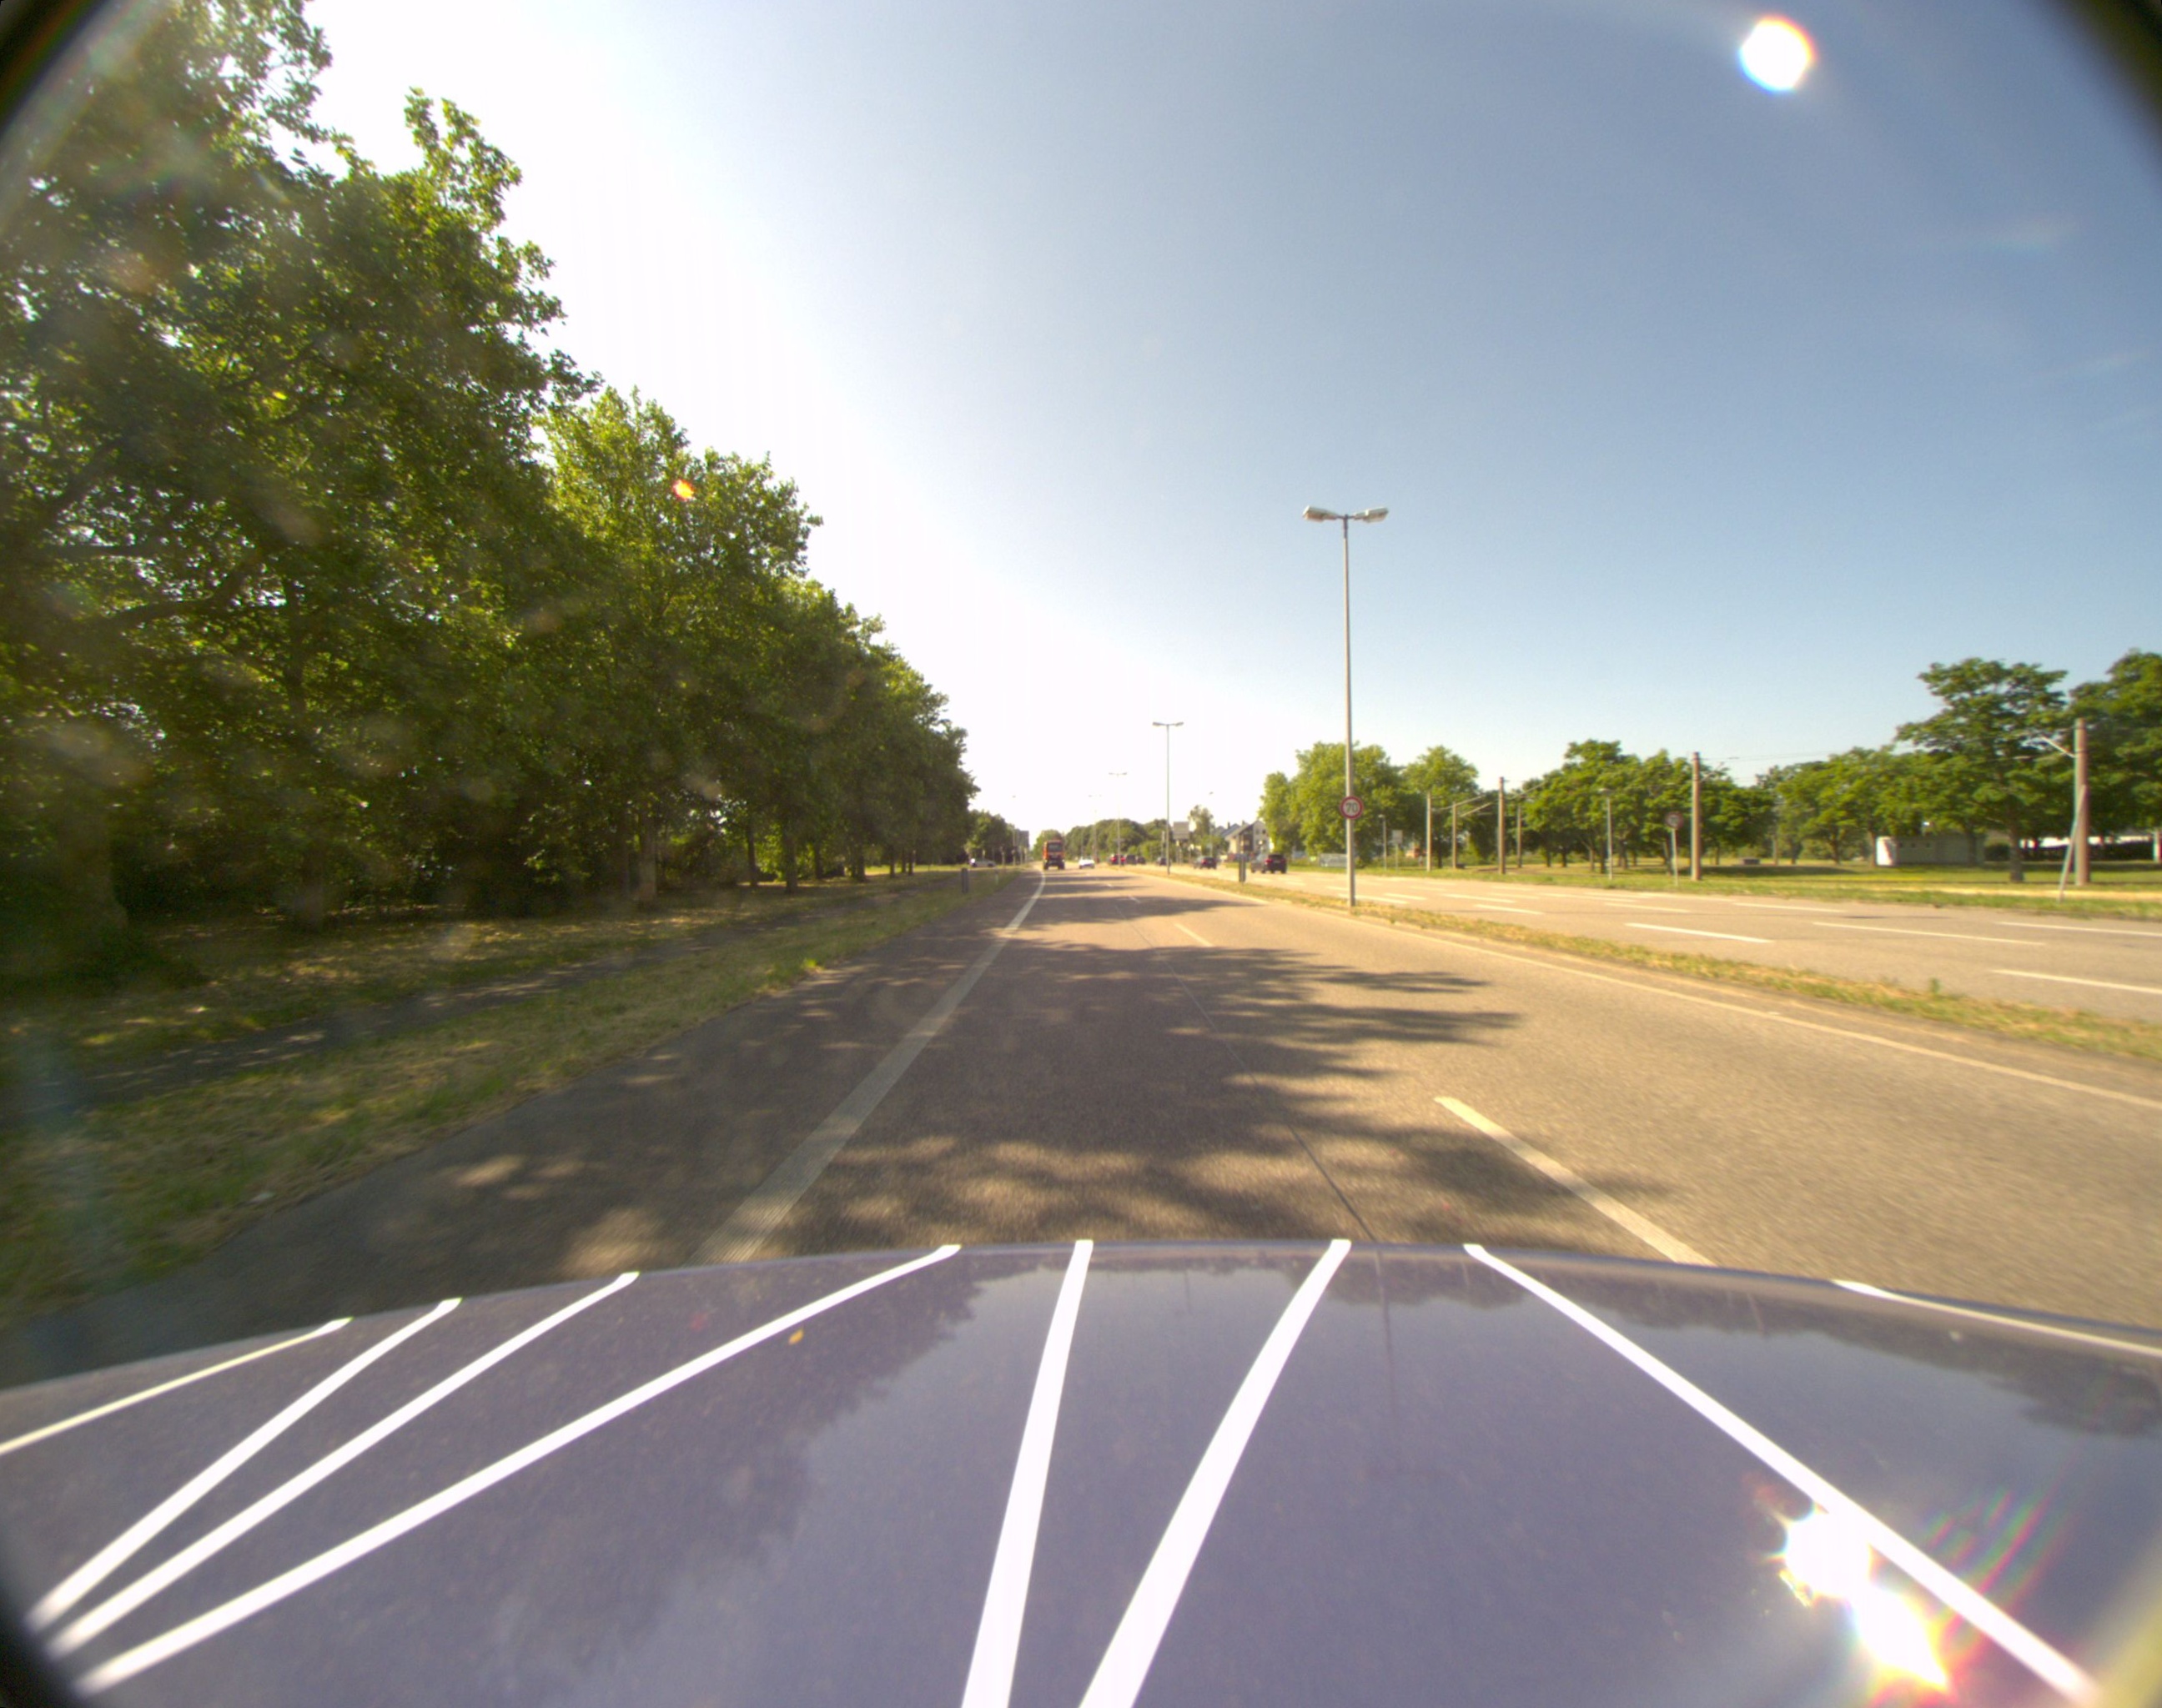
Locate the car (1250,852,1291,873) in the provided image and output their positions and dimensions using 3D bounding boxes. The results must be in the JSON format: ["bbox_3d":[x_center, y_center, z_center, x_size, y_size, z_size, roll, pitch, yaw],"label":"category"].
[{"bbox_3d":[15.083,0.648,60.697,1.988,1.650,4.553,-1,0,-3],"label":"car"}]

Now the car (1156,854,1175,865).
[{"bbox_3d":[12.196,0.774,109.730,1.868,1.536,4.404,0,0,-4],"label":"car"}]

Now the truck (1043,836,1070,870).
[{"bbox_3d":[-2.988,-0.160,92.148,2.941,3.852,6.588,-2,1,-4],"label":"truck"}]

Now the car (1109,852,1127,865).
[{"bbox_3d":[5.135,0.557,105.303,1.987,1.740,4.506,-1,0,-4],"label":"car"}]

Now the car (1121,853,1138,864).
[{"bbox_3d":[7.641,0.683,120.345,1.987,1.769,4.488,0,0,-4],"label":"car"}]

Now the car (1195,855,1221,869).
[{"bbox_3d":[13.858,0.808,83.177,1.836,1.457,4.468,-1,0,-3],"label":"car"}]

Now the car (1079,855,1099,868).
[{"bbox_3d":[0.907,0.864,93.874,1.870,1.499,4.334,-2,0,-7],"label":"car"}]

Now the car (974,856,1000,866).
[{"bbox_3d":[-15.456,1.149,124.819,4.063,1.555,1.742,-1,0,-4],"label":"car"}]
